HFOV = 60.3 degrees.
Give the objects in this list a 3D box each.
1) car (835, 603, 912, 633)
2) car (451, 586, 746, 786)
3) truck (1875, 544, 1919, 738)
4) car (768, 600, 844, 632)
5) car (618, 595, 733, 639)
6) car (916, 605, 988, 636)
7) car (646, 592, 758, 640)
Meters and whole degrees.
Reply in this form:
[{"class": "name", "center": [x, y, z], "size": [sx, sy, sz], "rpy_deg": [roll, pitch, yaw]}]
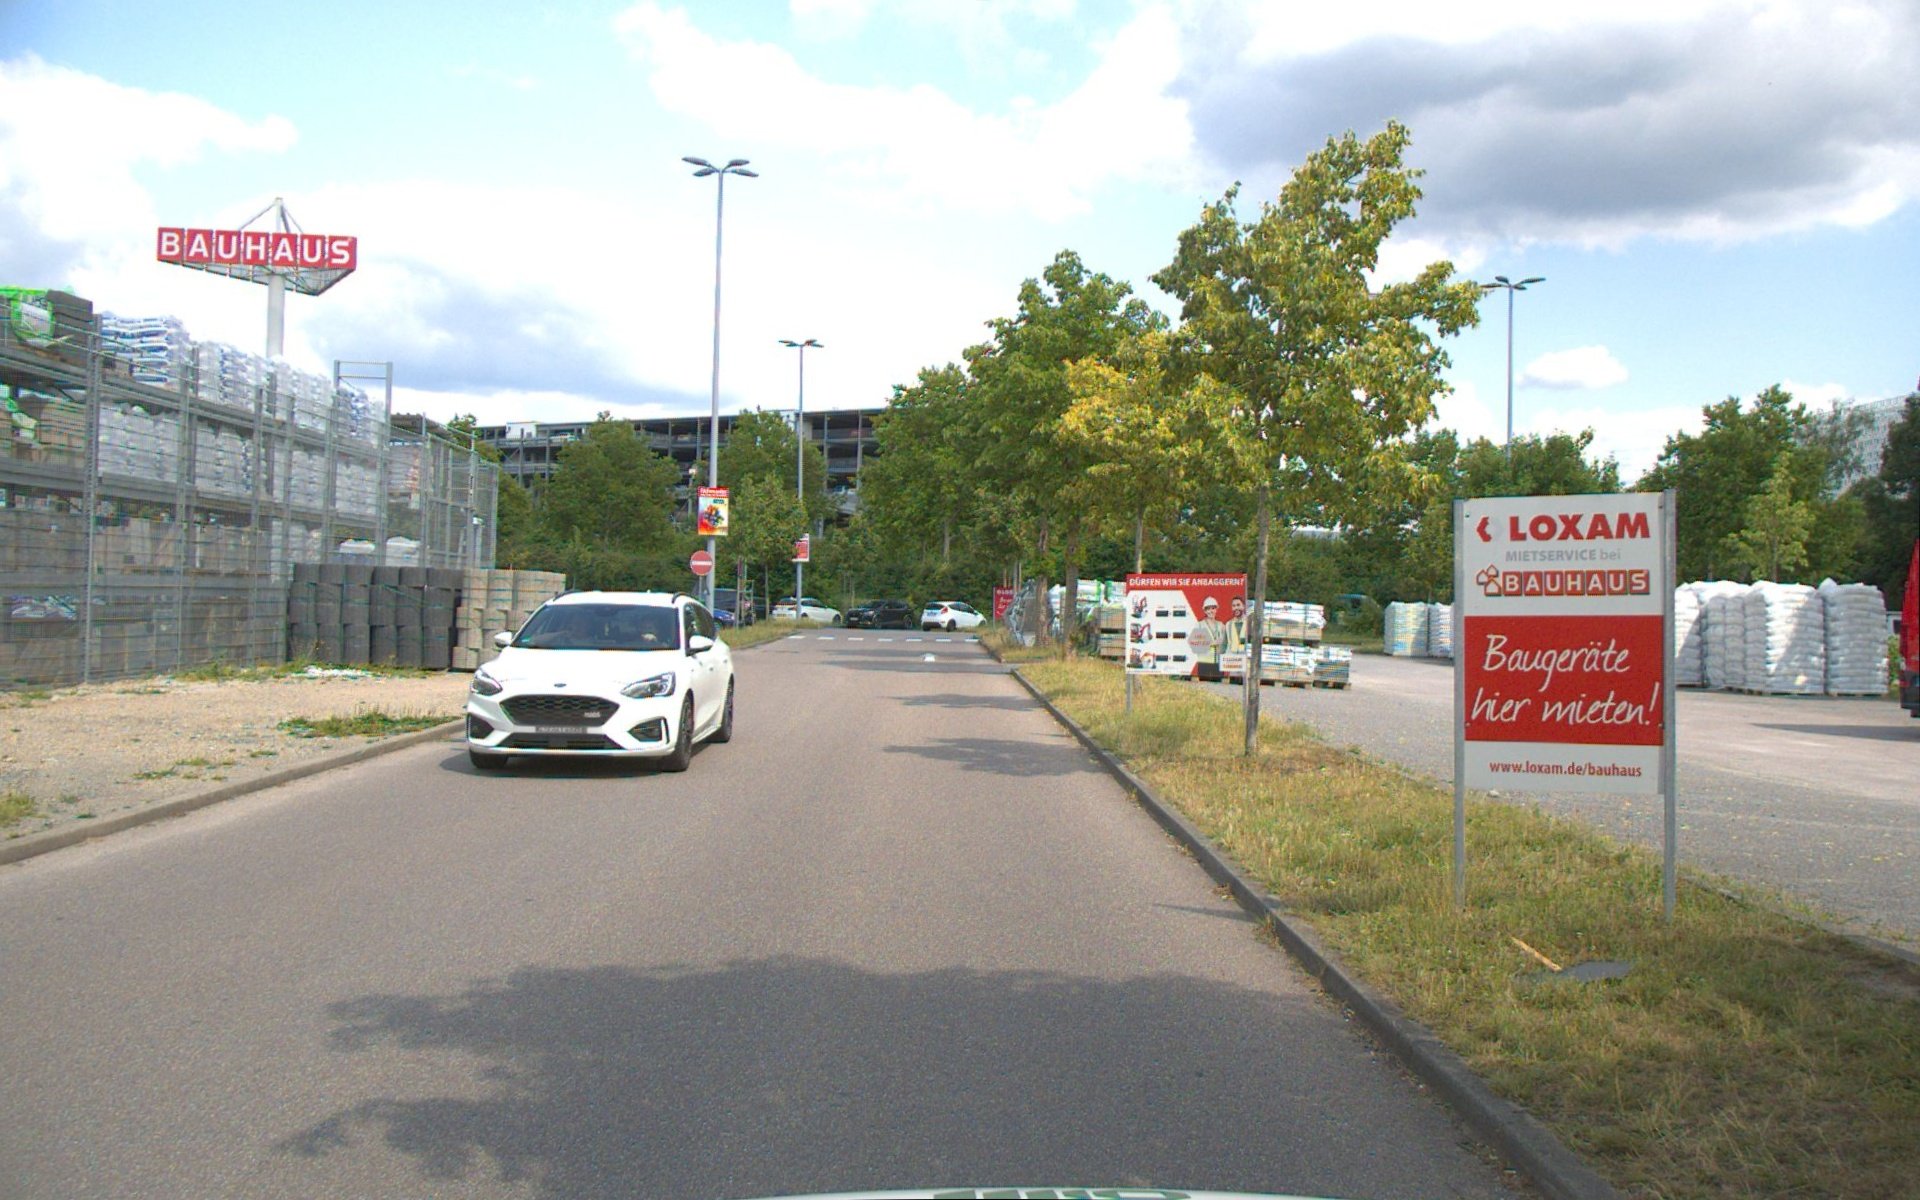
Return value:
[{"class": "car", "center": [-4.337, 0.912, 83.467], "size": [1.697, 1.435, 4.230], "rpy_deg": [1, 0, 33]}, {"class": "car", "center": [-3.075, 0.664, 14.972], "size": [1.767, 1.490, 4.328], "rpy_deg": [2, 0, -1]}, {"class": "truck", "center": [15.372, 0.604, 21.968], "size": [5.320, 2.559, 2.115], "rpy_deg": [1, 0, -4]}, {"class": "car", "center": [-7.967, 0.875, 86.001], "size": [1.656, 1.536, 4.066], "rpy_deg": [-4, -3, 36]}, {"class": "car", "center": [-9.794, 0.587, 57.081], "size": [3.674, 1.392, 1.621], "rpy_deg": [2, 0, -1]}, {"class": "car", "center": [-0.364, 1.005, 80.614], "size": [1.638, 1.436, 3.541], "rpy_deg": [1, -1, 38]}, {"class": "car", "center": [-9.688, 0.594, 62.213], "size": [3.869, 1.653, 1.736], "rpy_deg": [2, 0, 1]}]
